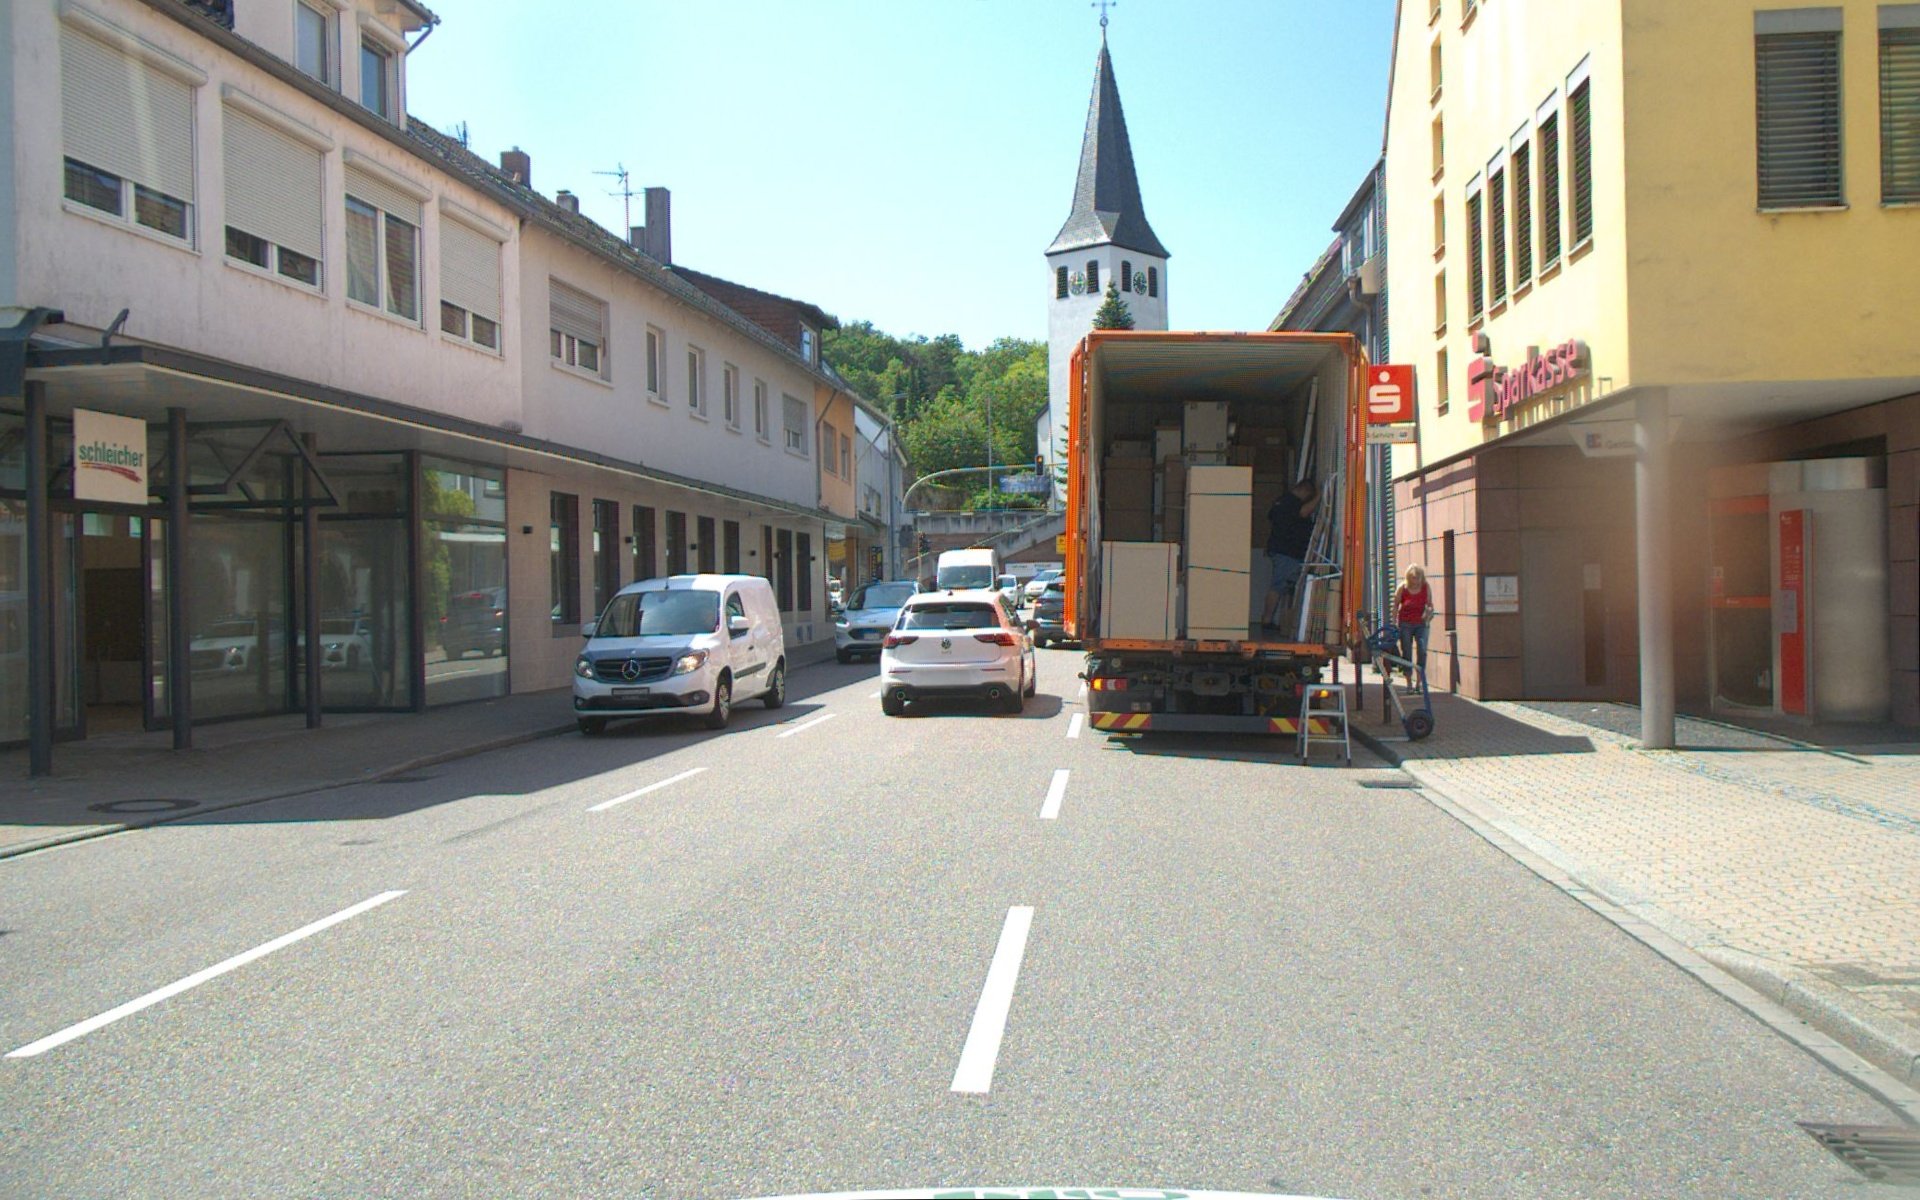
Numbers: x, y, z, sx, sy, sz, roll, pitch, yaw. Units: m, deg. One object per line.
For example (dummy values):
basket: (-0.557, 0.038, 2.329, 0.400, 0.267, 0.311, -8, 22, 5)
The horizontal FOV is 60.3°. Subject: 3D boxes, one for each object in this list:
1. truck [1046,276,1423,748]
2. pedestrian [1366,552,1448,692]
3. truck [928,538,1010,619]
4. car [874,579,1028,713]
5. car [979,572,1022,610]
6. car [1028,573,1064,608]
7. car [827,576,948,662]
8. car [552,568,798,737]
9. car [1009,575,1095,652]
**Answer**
truck: (2.775, -0.756, 20.053, 3.297, 4.243, 9.522, -2, -1, 3)
pedestrian: (5.851, 0.288, 21.688, 0.753, 1.773, 0.870, -2, -1, -1)
truck: (0.374, -0.663, 55.527, 2.073, 2.517, 5.740, -2, -1, 6)
car: (-0.079, 0.560, 21.137, 1.778, 1.546, 4.000, 0, -1, 1)
car: (1.789, -0.380, 71.772, 1.725, 1.524, 4.001, -2, -1, 2)
car: (4.293, -0.454, 83.291, 1.712, 1.646, 4.001, -2, -1, 2)
car: (-1.501, 0.414, 35.626, 1.951, 1.680, 4.003, -2, -1, 6)
car: (-3.405, 0.565, 20.746, 1.763, 1.811, 4.708, -2, 0, 6)
car: (2.093, 0.325, 38.728, 1.778, 1.657, 4.000, -2, -1, 0)
